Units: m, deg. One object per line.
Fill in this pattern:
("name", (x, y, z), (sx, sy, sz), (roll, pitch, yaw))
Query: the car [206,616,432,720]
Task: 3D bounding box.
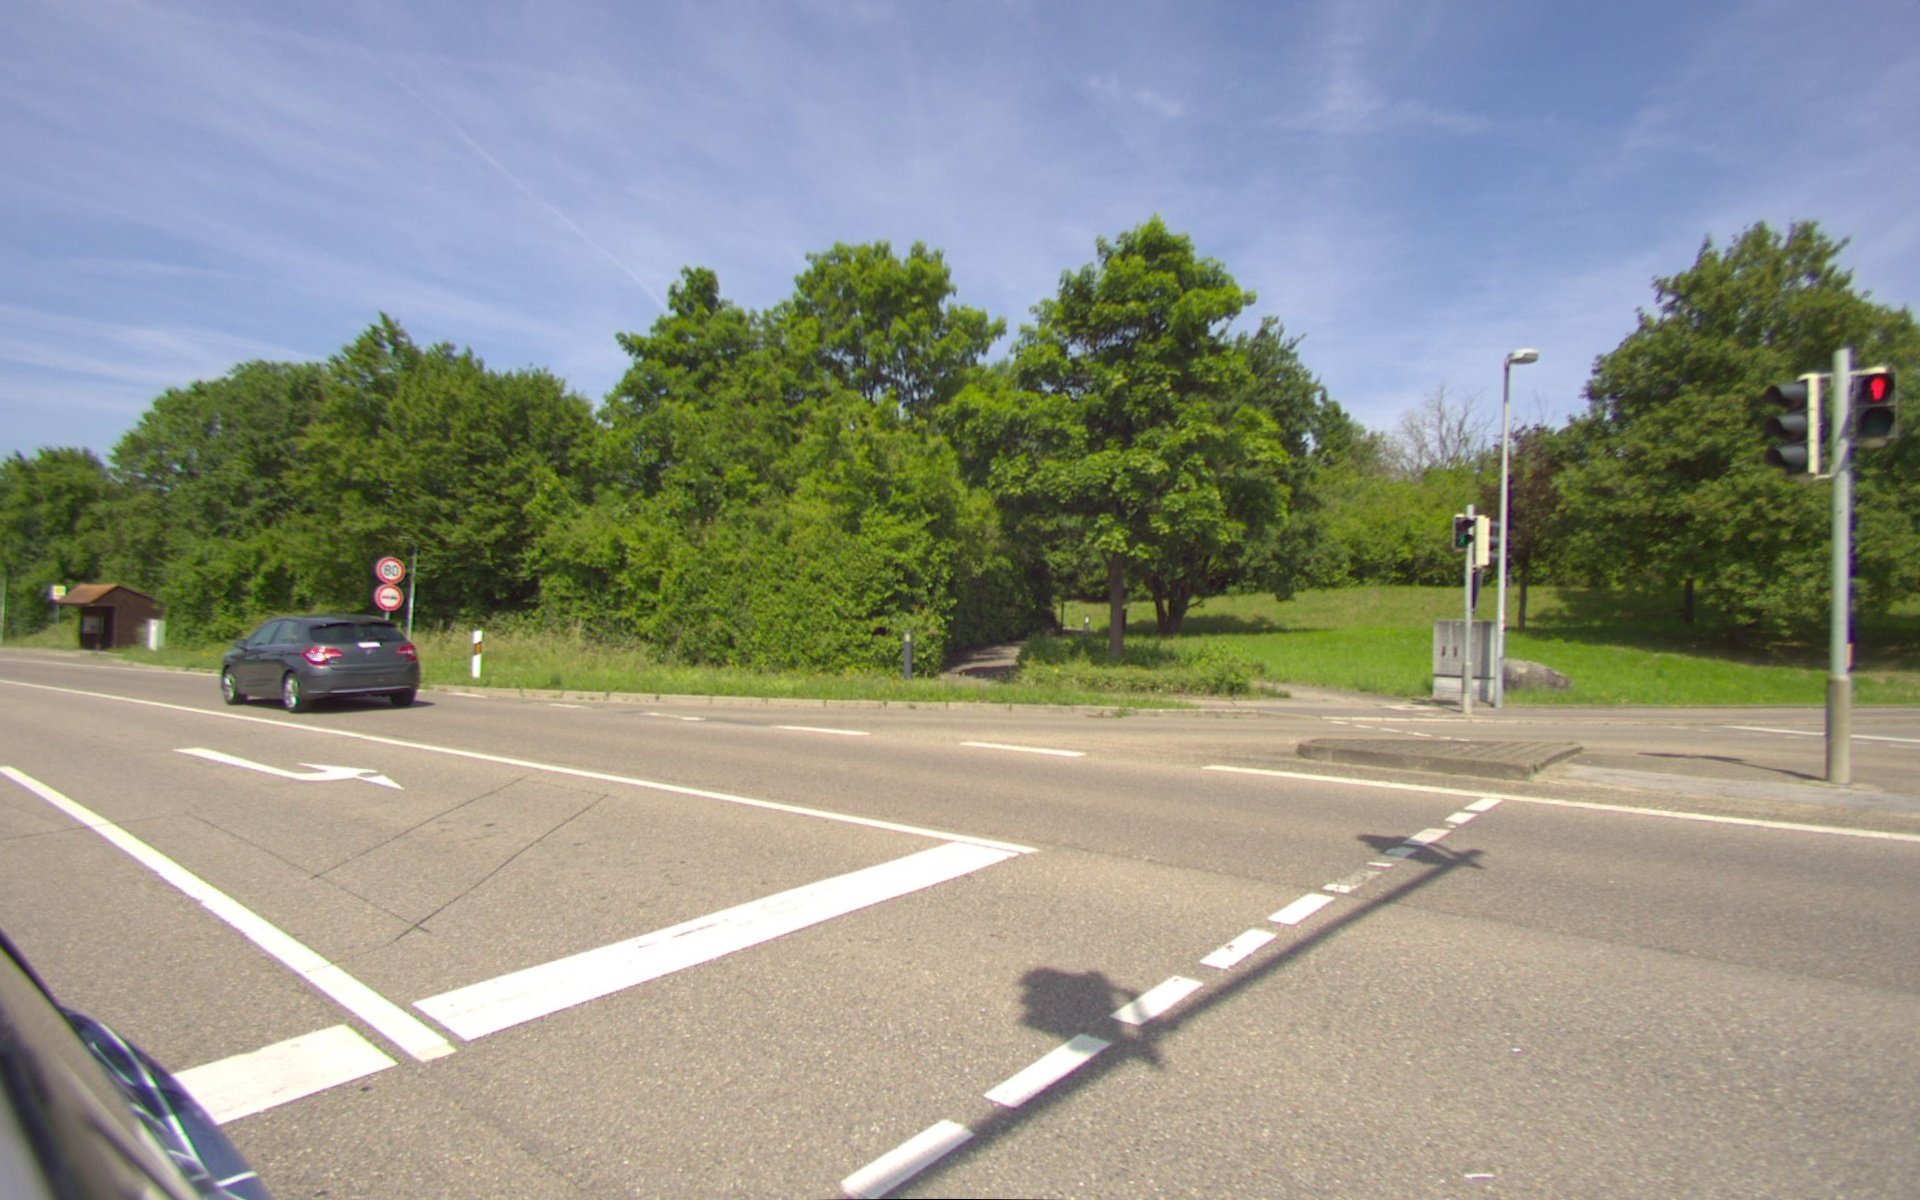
("car", (-10.541, 1.021, 16.525), (4.304, 1.485, 1.774), (-1, -1, 38))
